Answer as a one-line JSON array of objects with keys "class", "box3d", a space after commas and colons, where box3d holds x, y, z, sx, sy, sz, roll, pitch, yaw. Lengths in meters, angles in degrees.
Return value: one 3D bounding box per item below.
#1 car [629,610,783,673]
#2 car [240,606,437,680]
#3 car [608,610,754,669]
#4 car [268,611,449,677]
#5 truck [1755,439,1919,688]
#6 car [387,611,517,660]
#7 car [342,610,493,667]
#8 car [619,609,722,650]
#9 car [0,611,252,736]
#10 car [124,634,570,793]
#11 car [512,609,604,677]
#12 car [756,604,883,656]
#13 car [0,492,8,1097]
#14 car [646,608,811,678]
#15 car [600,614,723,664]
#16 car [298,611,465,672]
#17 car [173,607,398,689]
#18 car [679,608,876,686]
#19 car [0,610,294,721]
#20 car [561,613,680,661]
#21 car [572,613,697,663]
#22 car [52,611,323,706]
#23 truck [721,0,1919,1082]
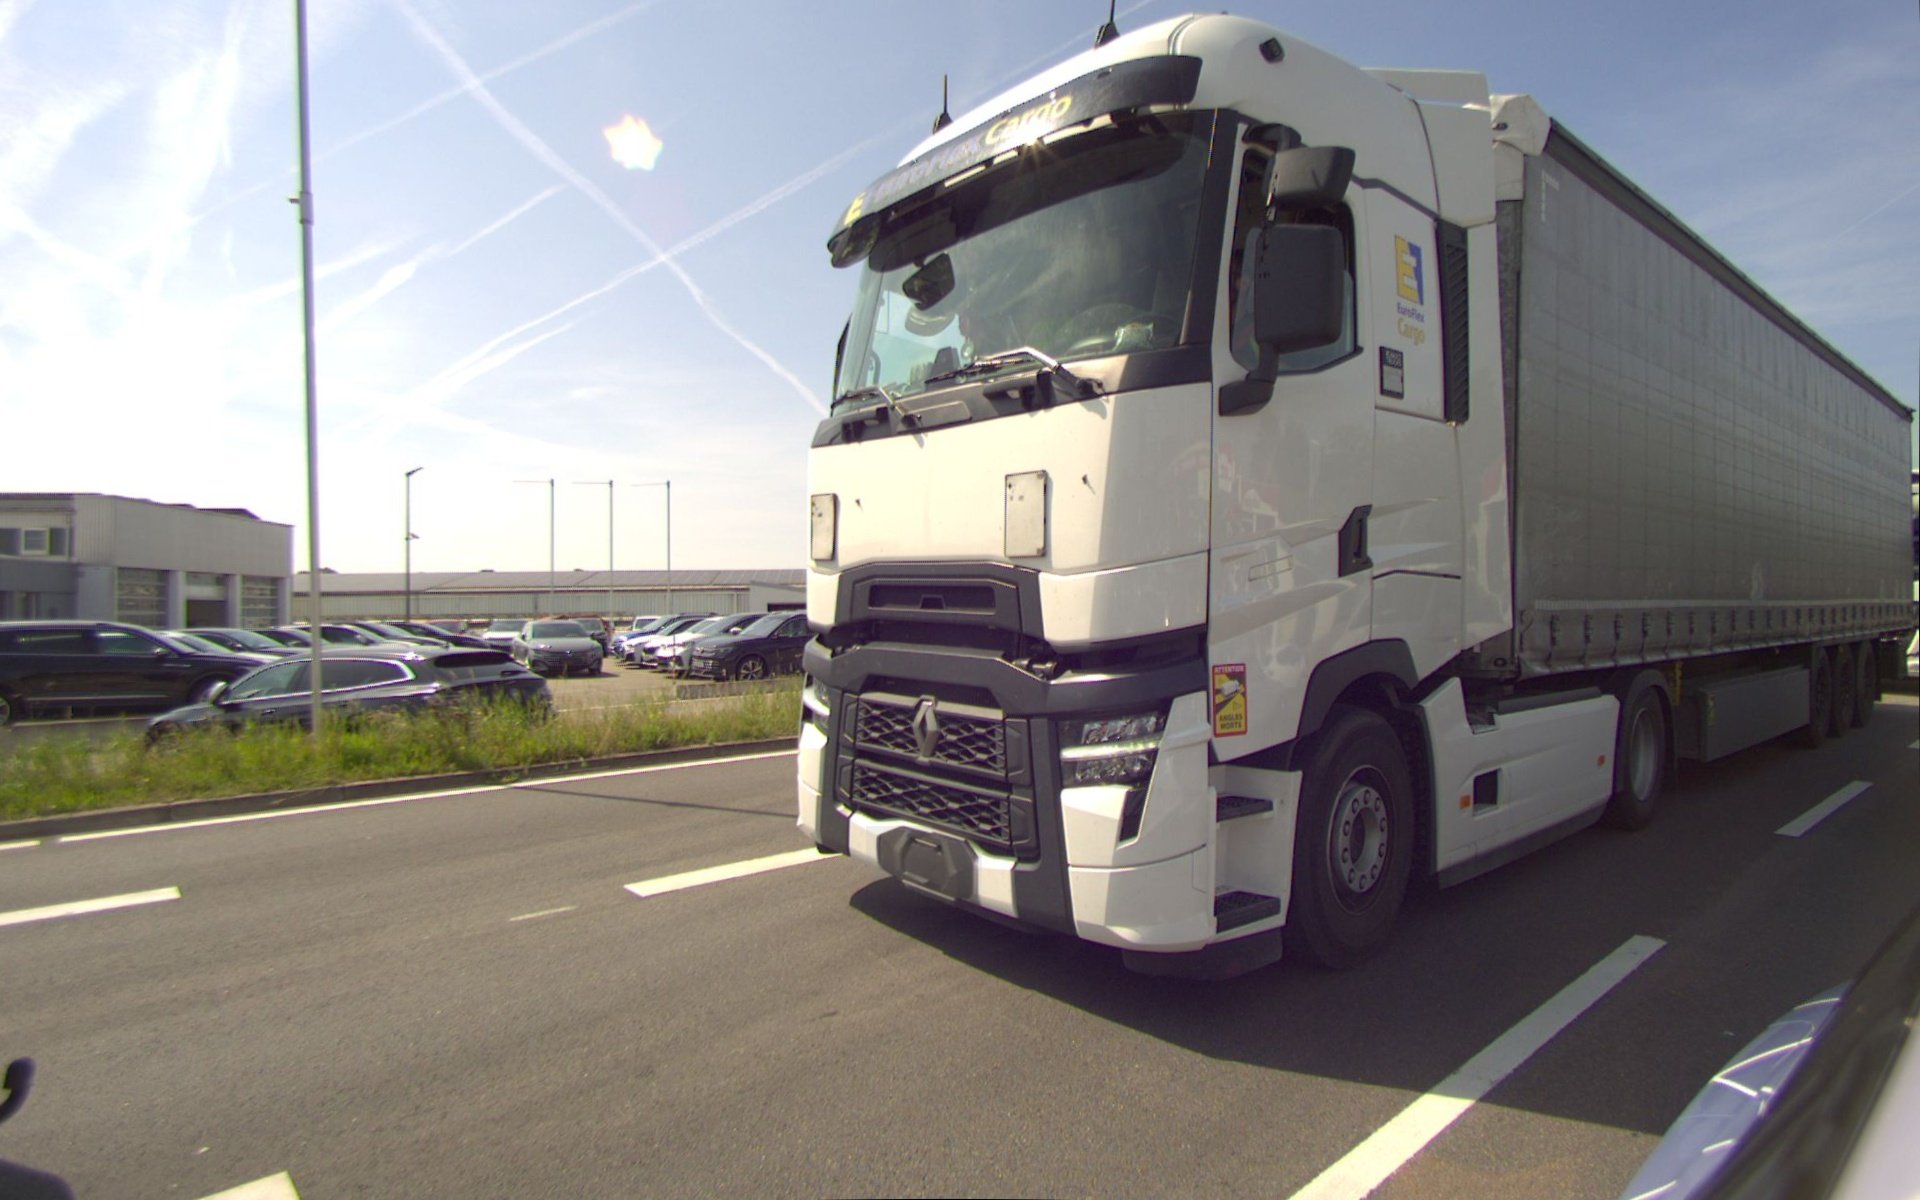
[{"class": "car", "box3d": [-7.166, 1.115, 28.712, 3.896, 1.638, 1.708, 0, -1, -38]}, {"class": "car", "box3d": [-16.385, 1.089, 26.931, 4.143, 1.812, 1.987, 0, -1, -20]}, {"class": "car", "box3d": [-8.363, 1.135, 30.452, 3.896, 1.638, 1.708, 0, -1, -38]}, {"class": "car", "box3d": [-17.293, 1.227, 29.314, 4.143, 1.777, 1.911, 0, -1, -15]}, {"class": "truck", "box3d": [18.748, -0.598, 19.592, 10.940, 3.859, 2.886, 0, 0, -39]}, {"class": "car", "box3d": [-19.346, 1.337, 38.754, 4.143, 1.777, 1.911, 0, -1, -15]}, {"class": "car", "box3d": [-18.129, 1.261, 34.027, 4.143, 1.777, 1.911, 0, -1, -15]}, {"class": "car", "box3d": [-12.250, 1.206, 42.927, 3.896, 1.638, 1.708, 0, -1, -38]}, {"class": "car", "box3d": [-14.026, 1.109, 16.326, 4.156, 1.812, 1.981, 0, -1, -39]}, {"class": "car", "box3d": [-6.563, 1.104, 10.898, 4.288, 1.420, 1.729, 0, -1, 17]}, {"class": "car", "box3d": [-10.761, 1.061, 26.953, 1.959, 1.638, 4.006, 0, 0, -26]}, {"class": "car", "box3d": [-4.674, 0.967, 33.962, 3.895, 1.638, 1.709, 0, -1, -36]}, {"class": "car", "box3d": [-3.726, 0.571, 1.022, 3.930, 1.706, 1.822, 0, 1, -41]}, {"class": "car", "box3d": [-5.949, 1.047, 26.173, 3.757, 1.638, 1.857, 0, -1, -38]}, {"class": "car", "box3d": [-9.693, 1.223, 32.923, 3.531, 1.426, 1.562, -1, 2, -39]}, {"class": "car", "box3d": [-17.831, 1.244, 31.416, 4.143, 1.777, 1.911, 0, -1, -15]}, {"class": "car", "box3d": [-16.032, 1.096, 24.321, 4.143, 1.812, 1.987, 0, -1, -20]}, {"class": "car", "box3d": [-4.334, 1.040, 24.285, 4.202, 1.678, 1.999, 0, -1, -38]}, {"class": "car", "box3d": [-14.916, 1.110, 18.753, 4.156, 1.812, 1.981, 0, -1, -39]}, {"class": "car", "box3d": [-12.765, 1.352, 38.138, 3.896, 1.638, 1.708, 0, -1, -38]}, {"class": "car", "box3d": [-11.535, 1.307, 35.905, 3.896, 1.638, 1.708, 0, -1, -38]}, {"class": "car", "box3d": [-16.092, 1.159, 21.371, 4.143, 1.812, 1.987, 0, -1, -20]}, {"class": "truck", "box3d": [5.971, -0.781, 9.399, 16.411, 4.320, 2.896, 0, 0, -40]}]
